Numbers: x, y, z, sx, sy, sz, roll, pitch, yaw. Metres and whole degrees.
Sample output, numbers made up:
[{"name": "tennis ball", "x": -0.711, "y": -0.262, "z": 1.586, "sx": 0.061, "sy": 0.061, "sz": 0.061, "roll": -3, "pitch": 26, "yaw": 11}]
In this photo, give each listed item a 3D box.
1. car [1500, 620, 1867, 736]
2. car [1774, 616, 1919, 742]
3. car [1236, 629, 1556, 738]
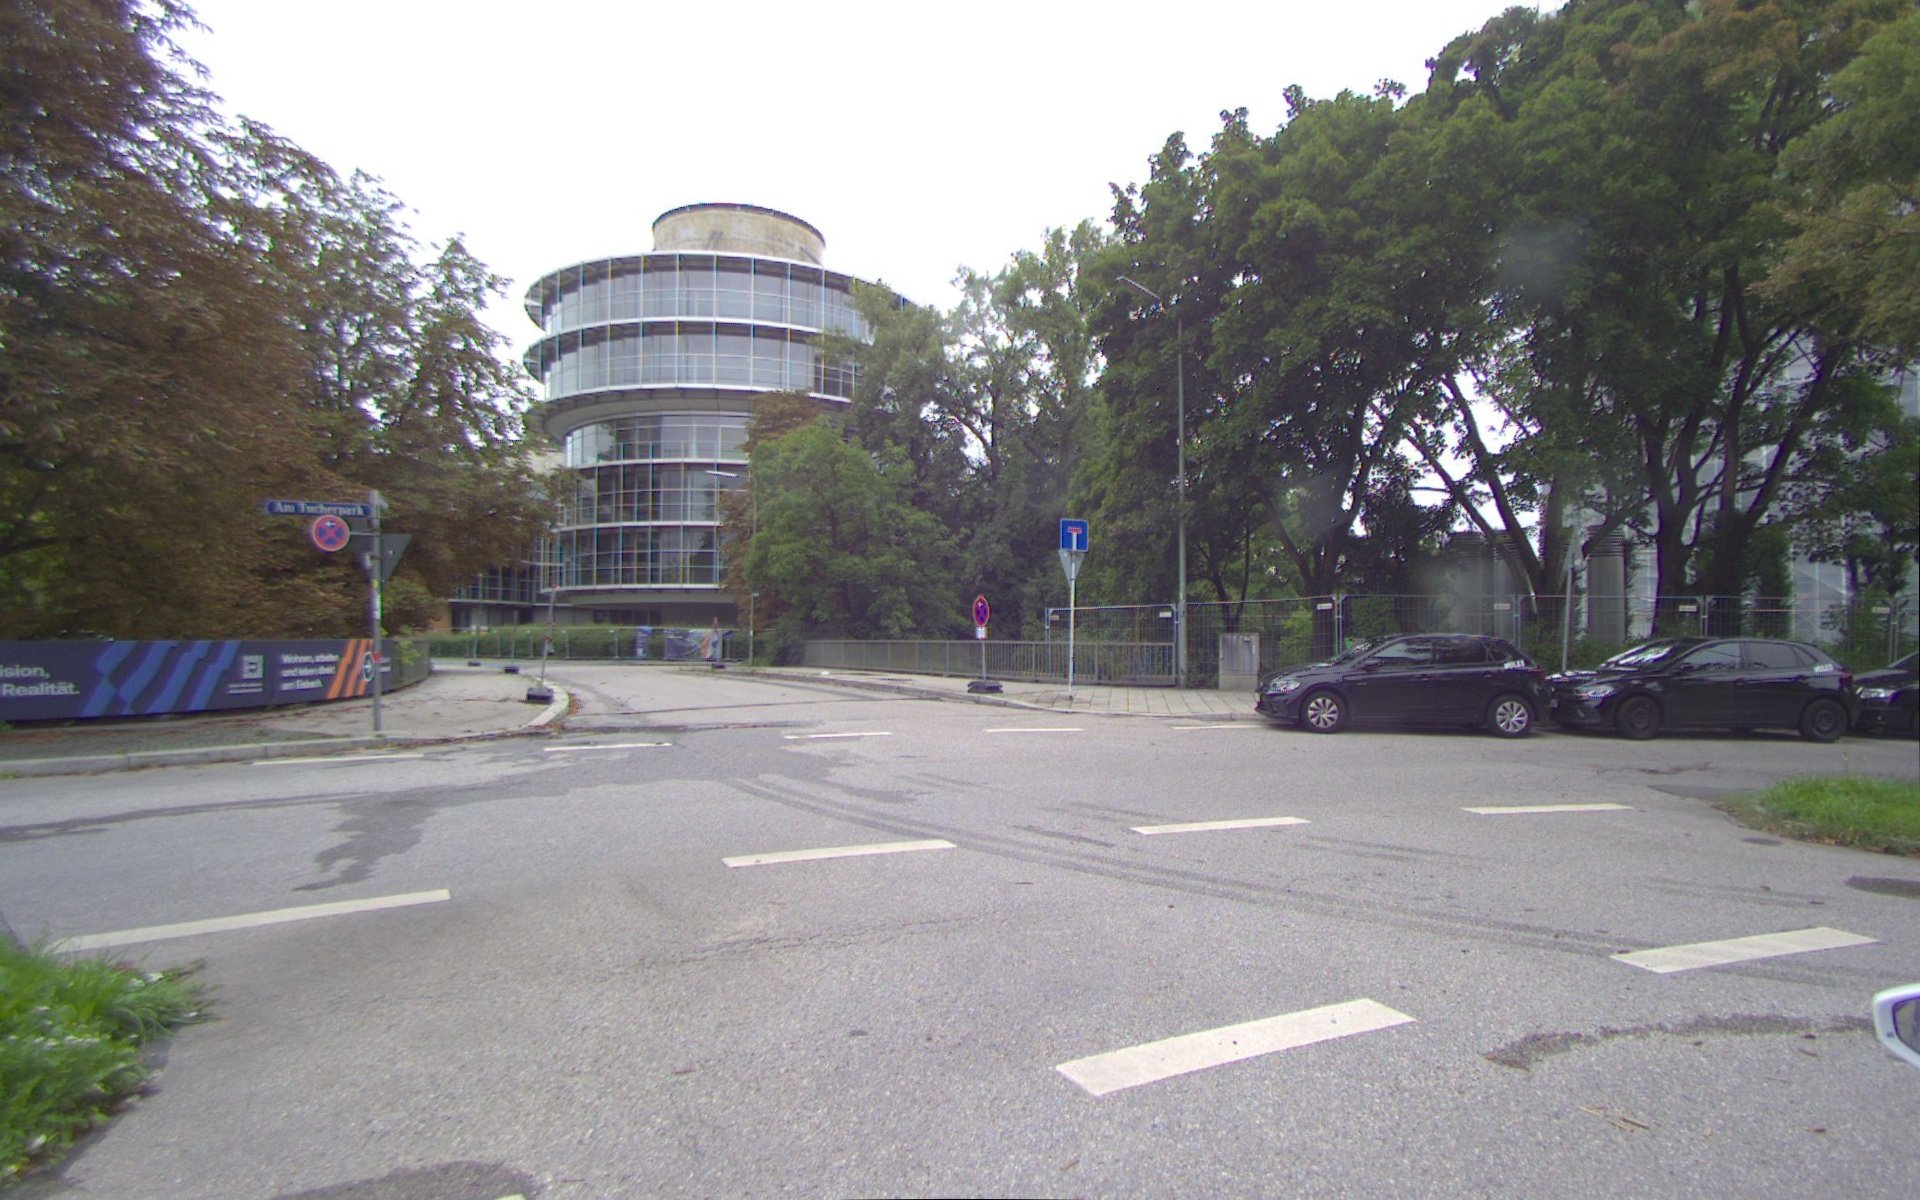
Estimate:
[{"name": "car", "x": 10.463, "y": 1.082, "z": 14.815, "sx": 3.919, "sy": 1.561, "sz": 2.001, "roll": 0, "pitch": -1, "yaw": 5}, {"name": "car", "x": 14.827, "y": 1.127, "z": 14.841, "sx": 3.919, "sy": 1.728, "sz": 2.001, "roll": 0, "pitch": -1, "yaw": 5}, {"name": "car", "x": 6.346, "y": 1.190, "z": 15.040, "sx": 3.961, "sy": 1.452, "sz": 2.001, "roll": 0, "pitch": 0, "yaw": 5}]
